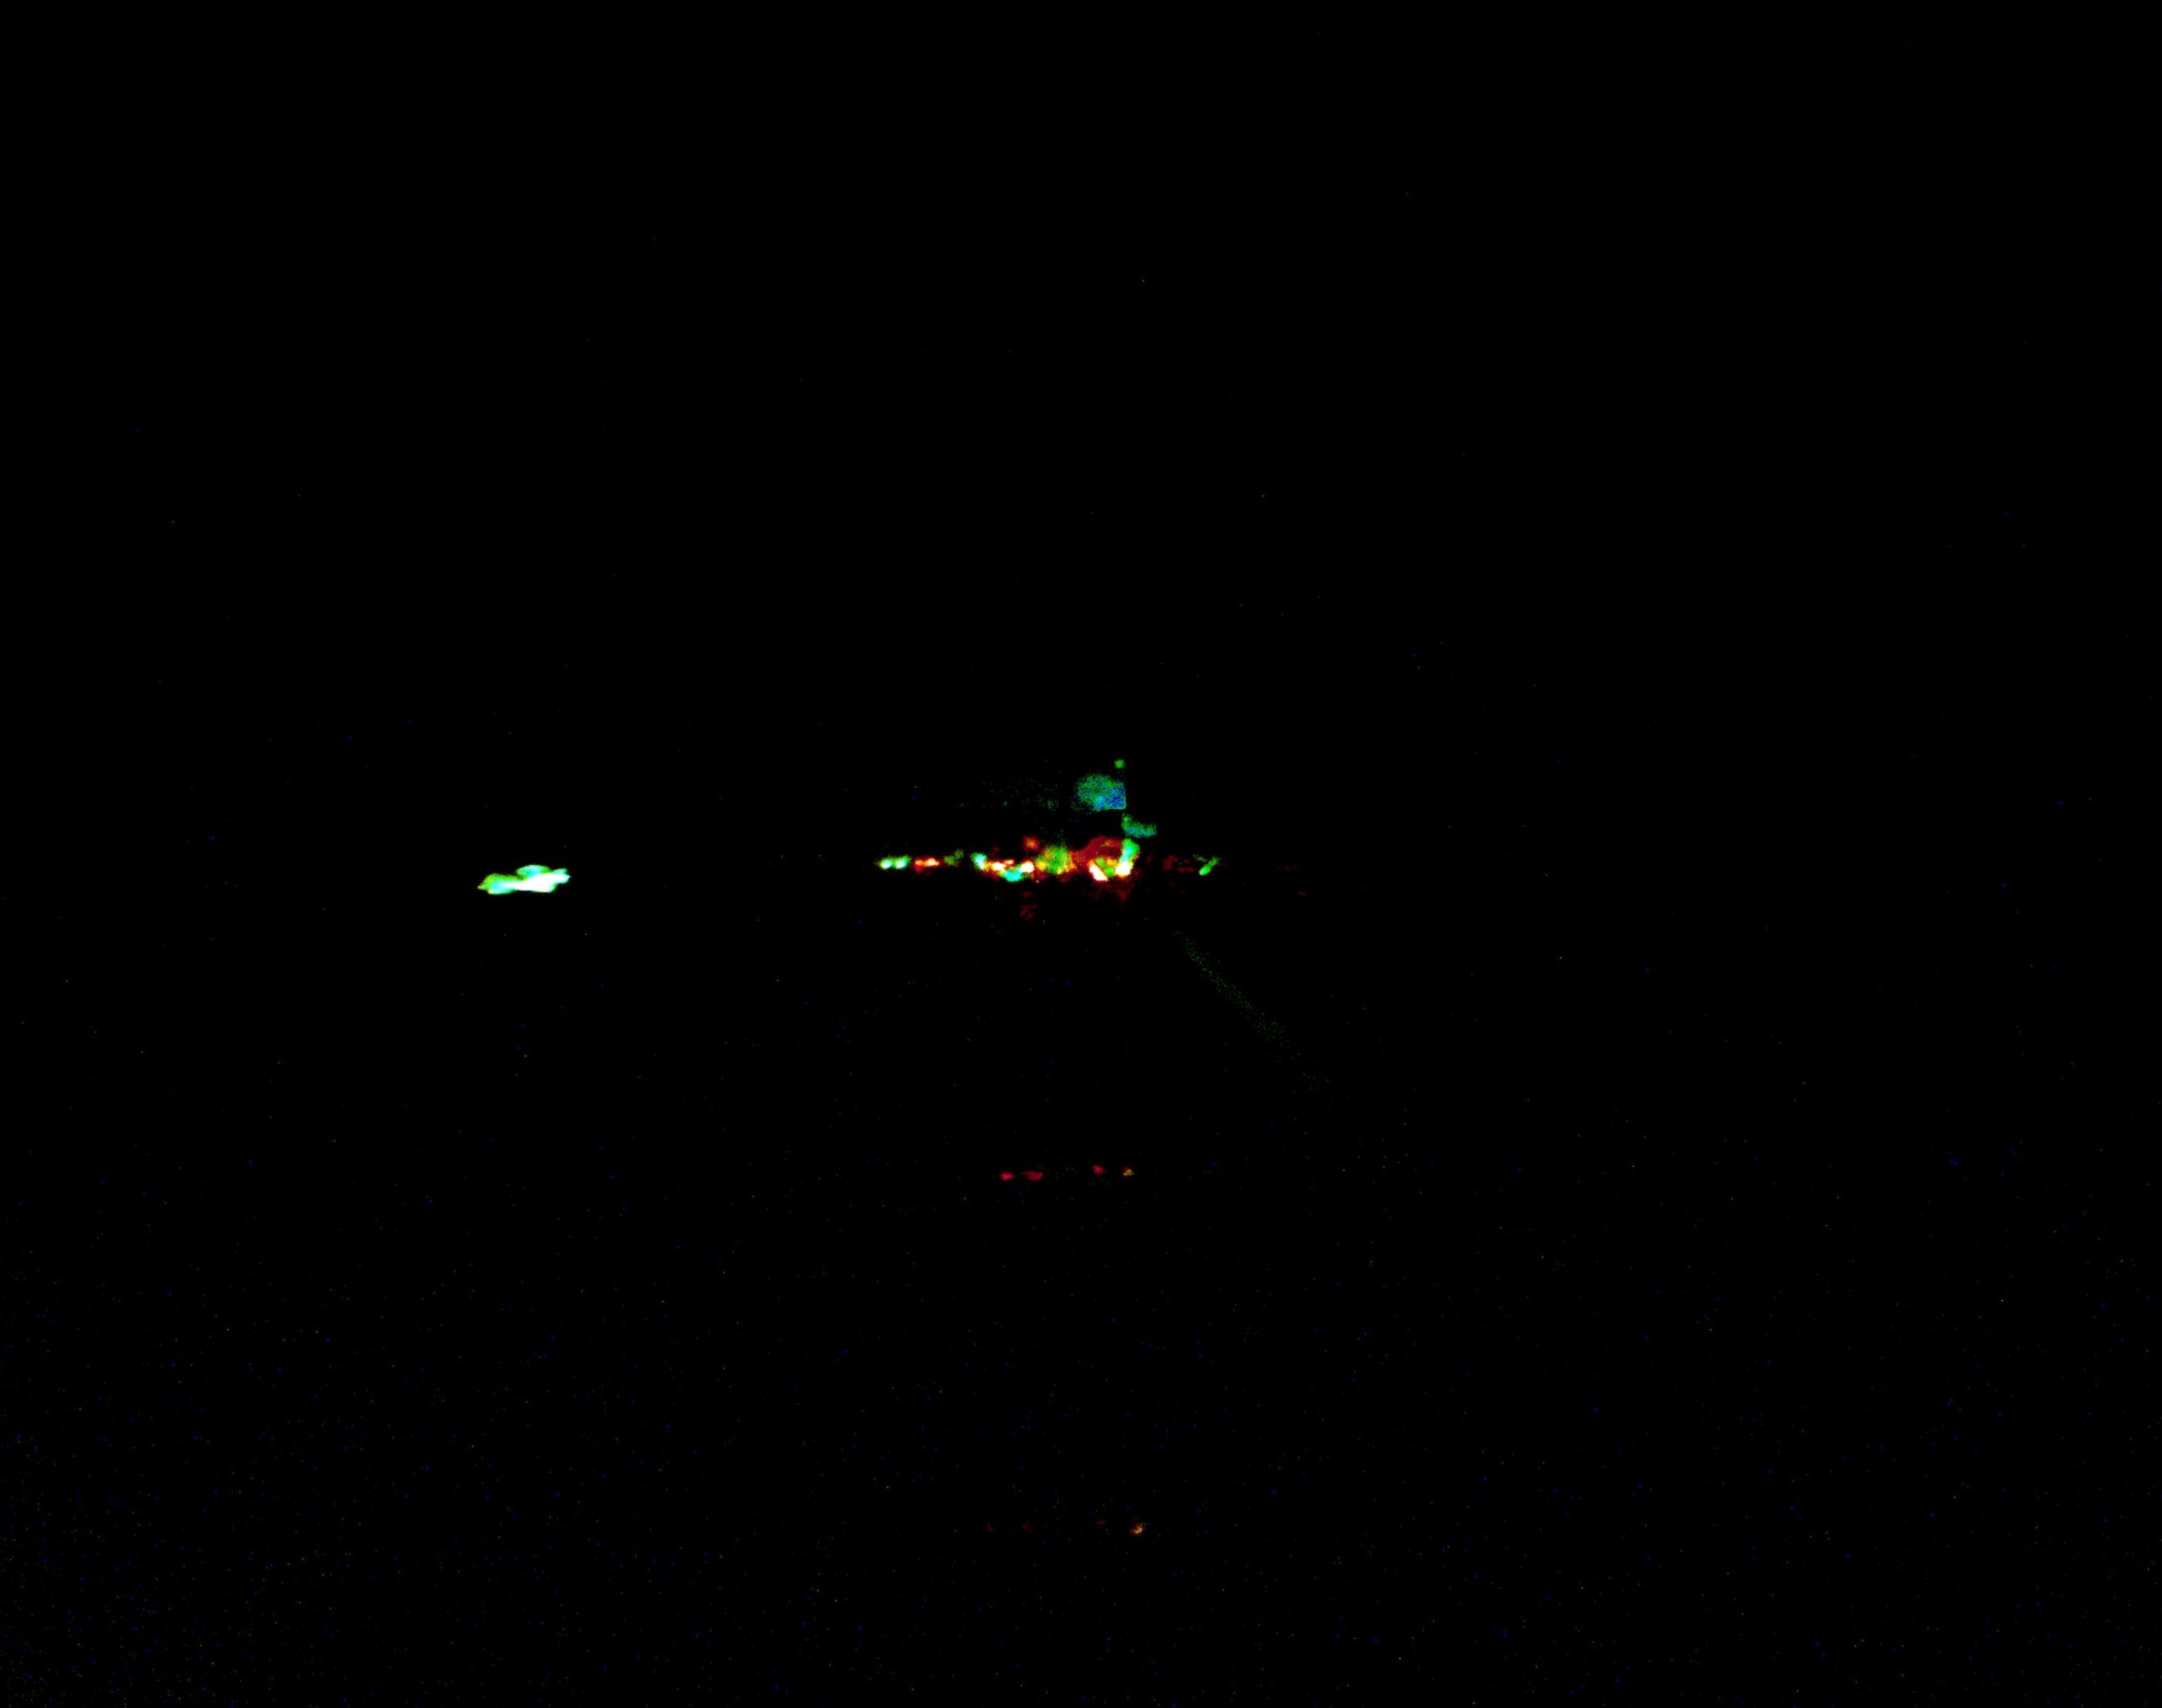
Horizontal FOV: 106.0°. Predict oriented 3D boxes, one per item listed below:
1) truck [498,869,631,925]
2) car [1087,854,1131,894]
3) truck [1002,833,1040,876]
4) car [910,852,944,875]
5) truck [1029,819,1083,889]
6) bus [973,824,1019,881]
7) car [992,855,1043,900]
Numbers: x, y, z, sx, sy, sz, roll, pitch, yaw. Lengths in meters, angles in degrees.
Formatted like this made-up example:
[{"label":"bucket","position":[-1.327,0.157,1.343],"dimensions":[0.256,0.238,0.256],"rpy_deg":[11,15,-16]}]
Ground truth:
[{"label":"truck","position":[-23.839,1.896,38.022],"dimensions":[1.986,2.347,6.440],"rpy_deg":[0,0,1]},{"label":"car","position":[1.304,0.909,38.633],"dimensions":[1.986,1.807,4.001],"rpy_deg":[0,0,1]},{"label":"truck","position":[-8.112,0.116,112.576],"dimensions":[4.196,5.648,11.468],"rpy_deg":[0,0,1]},{"label":"car","position":[-11.288,0.675,59.906],"dimensions":[1.990,1.596,3.993],"rpy_deg":[0,0,-5]},{"label":"truck","position":[-1.994,0.014,71.205],"dimensions":[4.196,5.648,11.468],"rpy_deg":[0,0,1]},{"label":"bus","position":[-7.079,-0.101,69.375],"dimensions":[3.089,4.508,10.904],"rpy_deg":[0,0,-2]},{"label":"car","position":[-2.932,1.047,38.636],"dimensions":[2.120,2.014,4.643],"rpy_deg":[0,0,-1]}]
